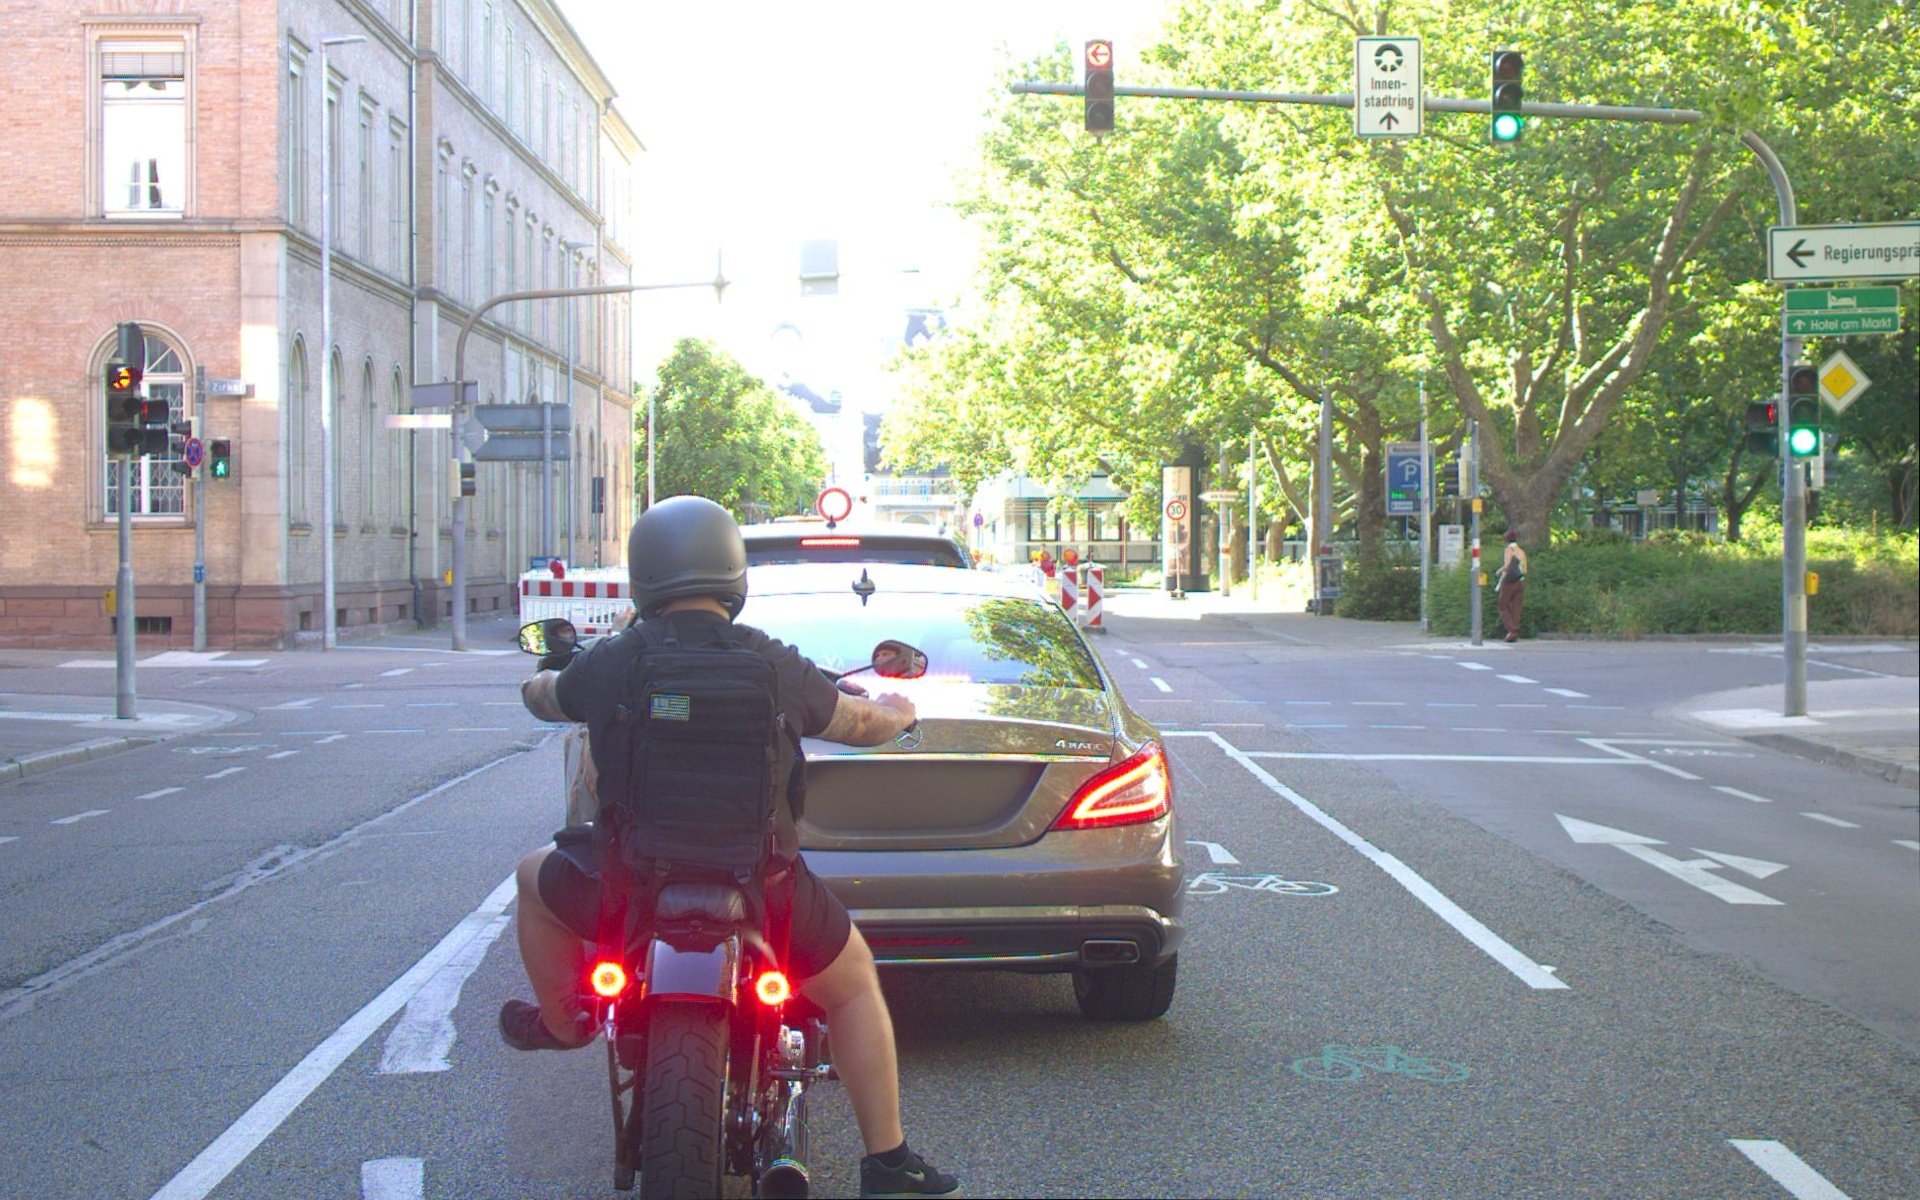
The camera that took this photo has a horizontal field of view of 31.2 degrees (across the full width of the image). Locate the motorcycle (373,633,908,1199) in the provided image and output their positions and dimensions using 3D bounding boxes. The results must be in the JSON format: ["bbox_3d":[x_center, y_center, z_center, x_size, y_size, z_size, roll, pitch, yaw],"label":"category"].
[{"bbox_3d":[-0.610,0.742,7.585,0.980,1.271,2.407,0,1,-1],"label":"motorcycle"}]

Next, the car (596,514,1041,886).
[{"bbox_3d":[-0.663,0.432,17.565,1.993,1.660,4.000,1,1,-1],"label":"car"}]

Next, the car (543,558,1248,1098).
[{"bbox_3d":[-0.430,0.590,11.643,1.869,1.439,4.431,0,1,-8],"label":"car"}]

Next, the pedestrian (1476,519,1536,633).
[{"bbox_3d":[8.595,-0.380,54.155,0.679,1.766,0.615,1,1,45],"label":"pedestrian"}]

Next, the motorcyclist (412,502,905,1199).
[{"bbox_3d":[-0.614,0.579,7.527,0.980,1.573,1.248,0,1,-1],"label":"motorcyclist"}]
